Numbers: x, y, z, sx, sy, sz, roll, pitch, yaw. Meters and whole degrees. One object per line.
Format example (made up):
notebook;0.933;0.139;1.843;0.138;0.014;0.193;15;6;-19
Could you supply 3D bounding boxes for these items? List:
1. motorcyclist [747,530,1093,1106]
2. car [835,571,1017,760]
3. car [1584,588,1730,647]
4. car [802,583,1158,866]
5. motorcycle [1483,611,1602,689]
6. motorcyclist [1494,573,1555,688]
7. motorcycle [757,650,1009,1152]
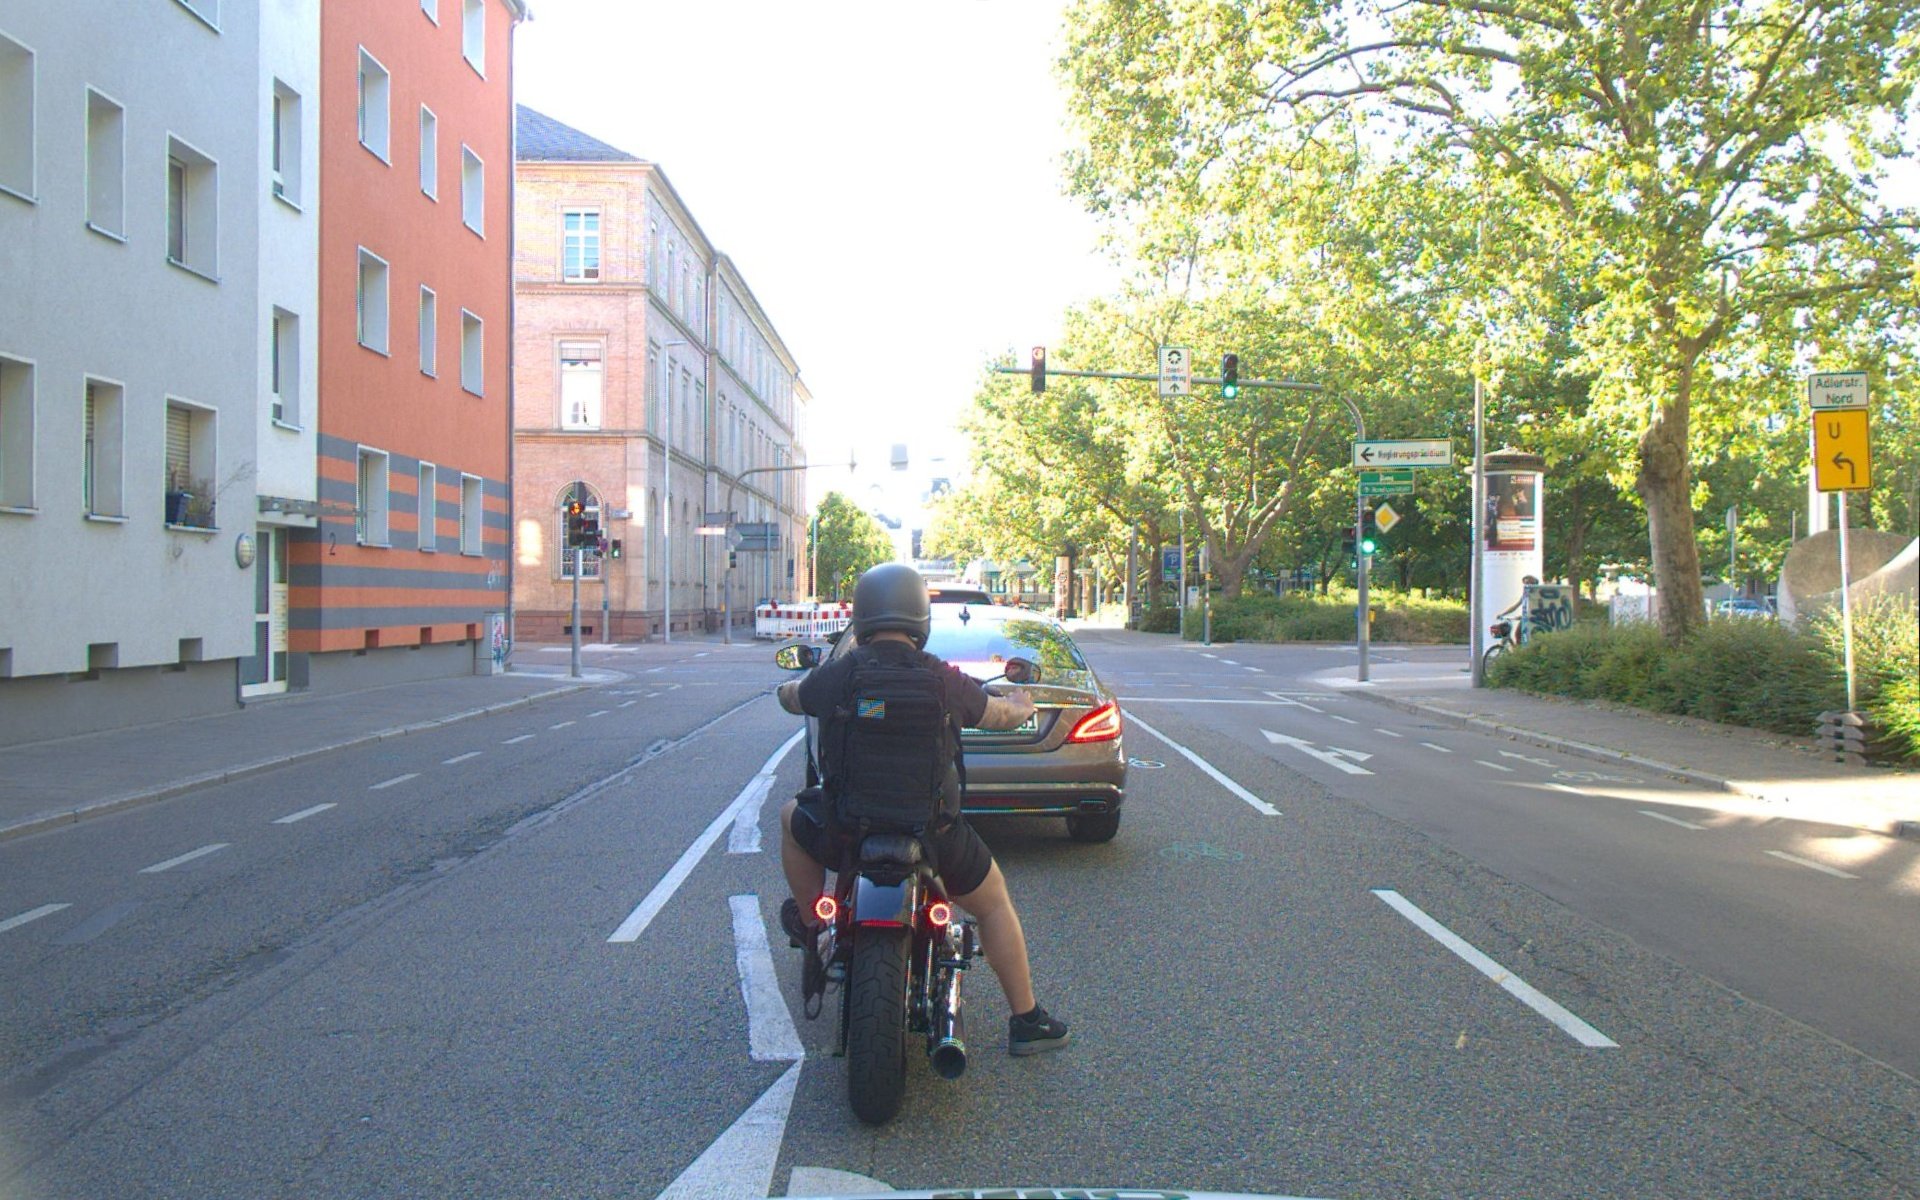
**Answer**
motorcyclist;-0.121;0.630;5.311;0.970;1.639;1.120;1;0;-1
car;-0.330;0.601;16.954;1.618;1.681;3.999;1;0;-1
car;21.989;0.536;52.281;3.907;1.803;1.737;0;0;-3
car;-0.084;0.685;11.111;1.790;1.512;4.326;1;0;-7
motorcycle;9.776;0.836;27.809;1.743;1.265;0.723;1;0;4
motorcyclist;9.484;0.504;27.820;0.805;1.896;0.672;1;-1;4
motorcycle;-0.217;0.828;5.401;0.646;1.261;2.057;1;0;-1
